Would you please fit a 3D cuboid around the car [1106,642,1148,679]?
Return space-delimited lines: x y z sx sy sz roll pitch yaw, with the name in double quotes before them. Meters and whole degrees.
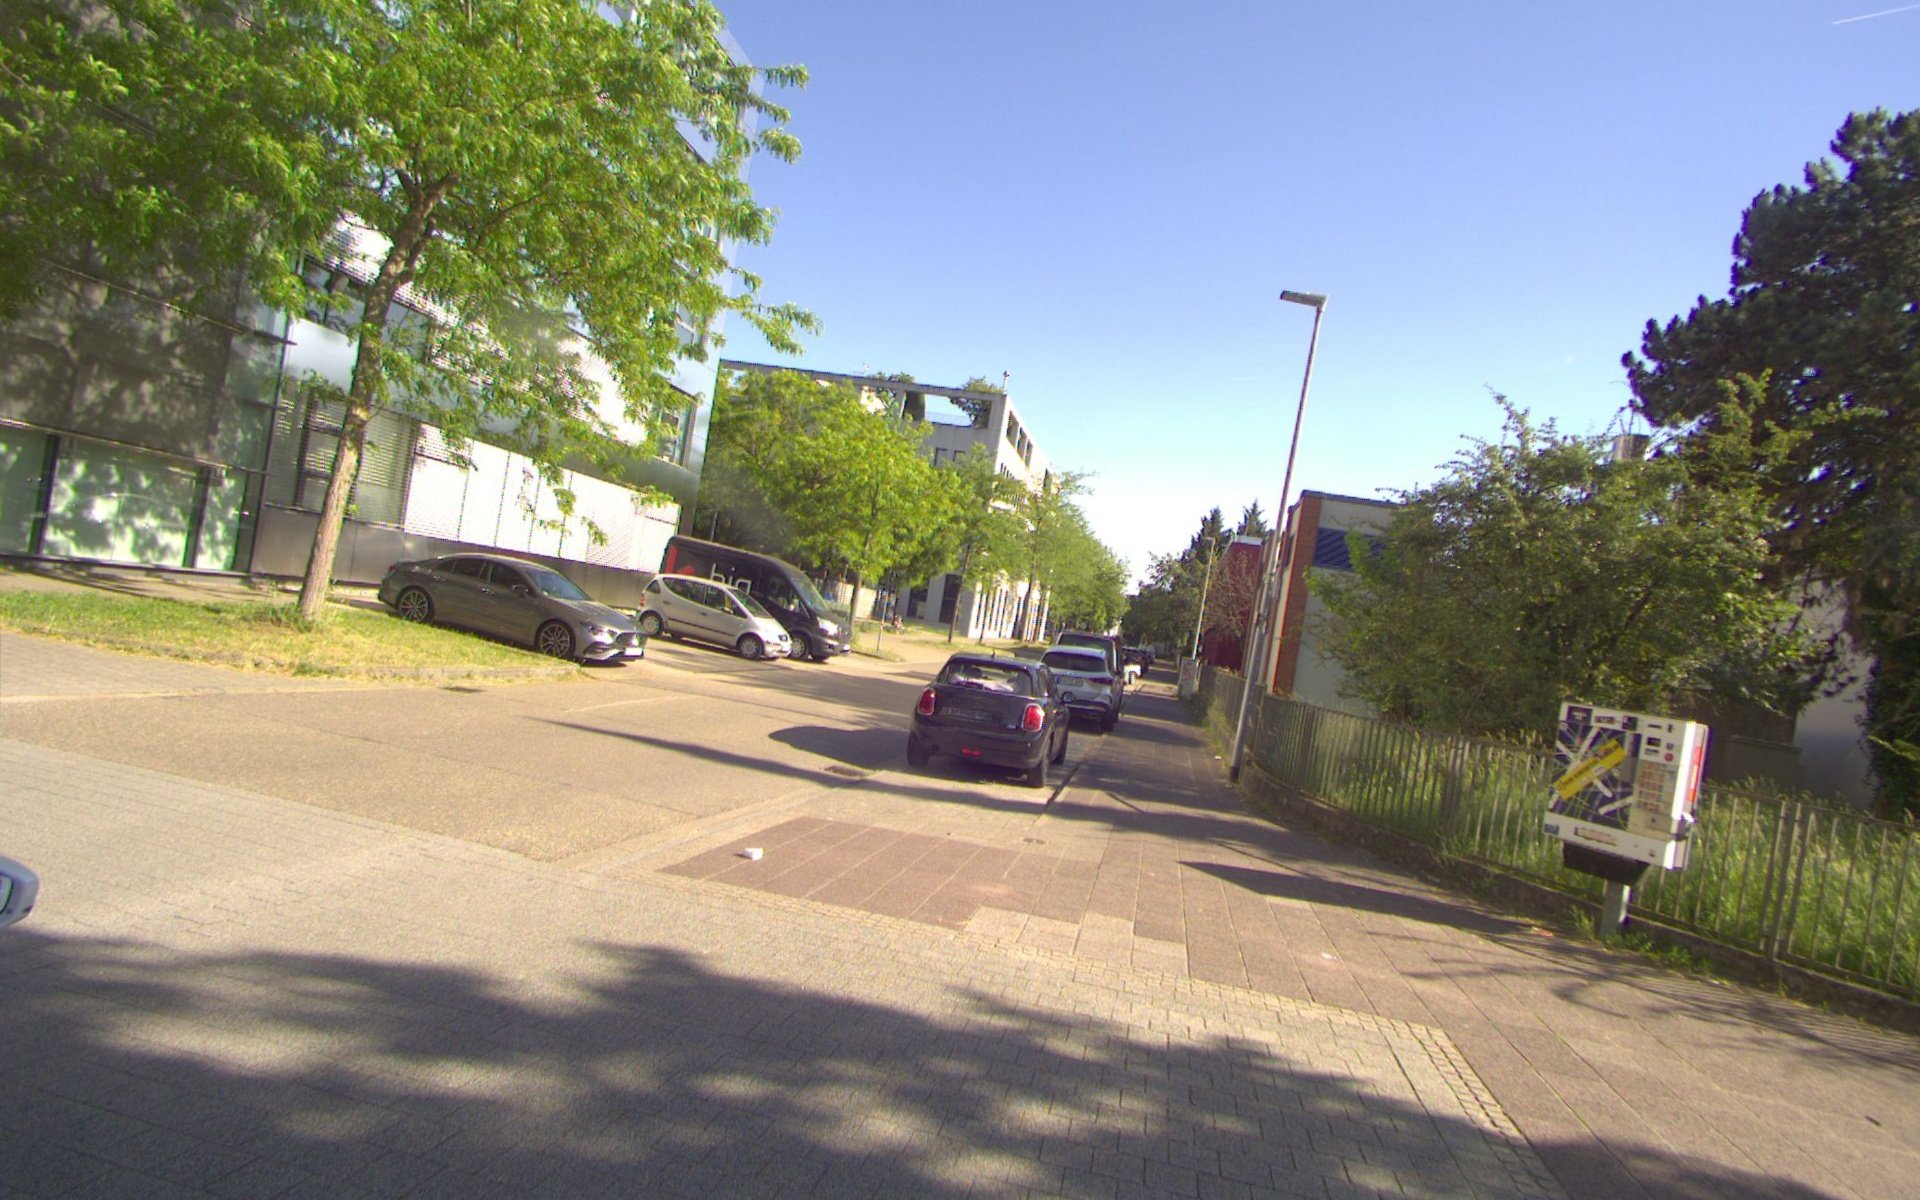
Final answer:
"car" 9.225 3.337 55.453 1.809 1.653 4.205 10 -1 13

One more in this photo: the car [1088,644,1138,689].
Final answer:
"car" 6.625 2.846 43.387 1.634 1.579 3.938 10 -1 13

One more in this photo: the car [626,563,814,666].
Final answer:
"car" -5.798 0.378 24.530 3.772 1.663 1.894 12 -1 12

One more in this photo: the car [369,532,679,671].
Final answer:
"car" -7.414 0.044 17.287 4.465 1.365 1.894 12 0 12

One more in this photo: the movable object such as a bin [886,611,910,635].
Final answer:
"movable object such as a bin" -3.453 1.323 56.271 0.652 1.195 1.937 9 0 12

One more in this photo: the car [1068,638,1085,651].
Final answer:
"car" 16.687 6.333 144.137 1.962 1.474 3.797 10 -1 9

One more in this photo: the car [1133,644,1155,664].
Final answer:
"car" 19.489 5.734 106.522 1.962 1.856 4.004 6 -1 13

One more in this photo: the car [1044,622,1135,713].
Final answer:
"car" 3.697 1.853 28.006 1.913 2.045 4.831 8 -2 12

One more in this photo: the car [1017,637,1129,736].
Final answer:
"car" 2.526 1.789 21.539 1.796 1.648 4.299 8 -2 12

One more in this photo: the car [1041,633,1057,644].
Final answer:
"car" 12.858 5.544 145.093 1.876 1.357 3.796 10 -1 9

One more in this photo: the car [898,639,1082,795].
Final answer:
"car" 0.543 1.403 13.084 1.626 1.489 3.769 8 -2 11

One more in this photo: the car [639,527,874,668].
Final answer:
"car" -5.394 -0.049 27.041 5.371 2.652 2.234 11 0 10

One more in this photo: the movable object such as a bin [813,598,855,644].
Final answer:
"movable object such as a bin" -4.543 0.744 36.435 1.275 1.430 1.226 10 0 -6
